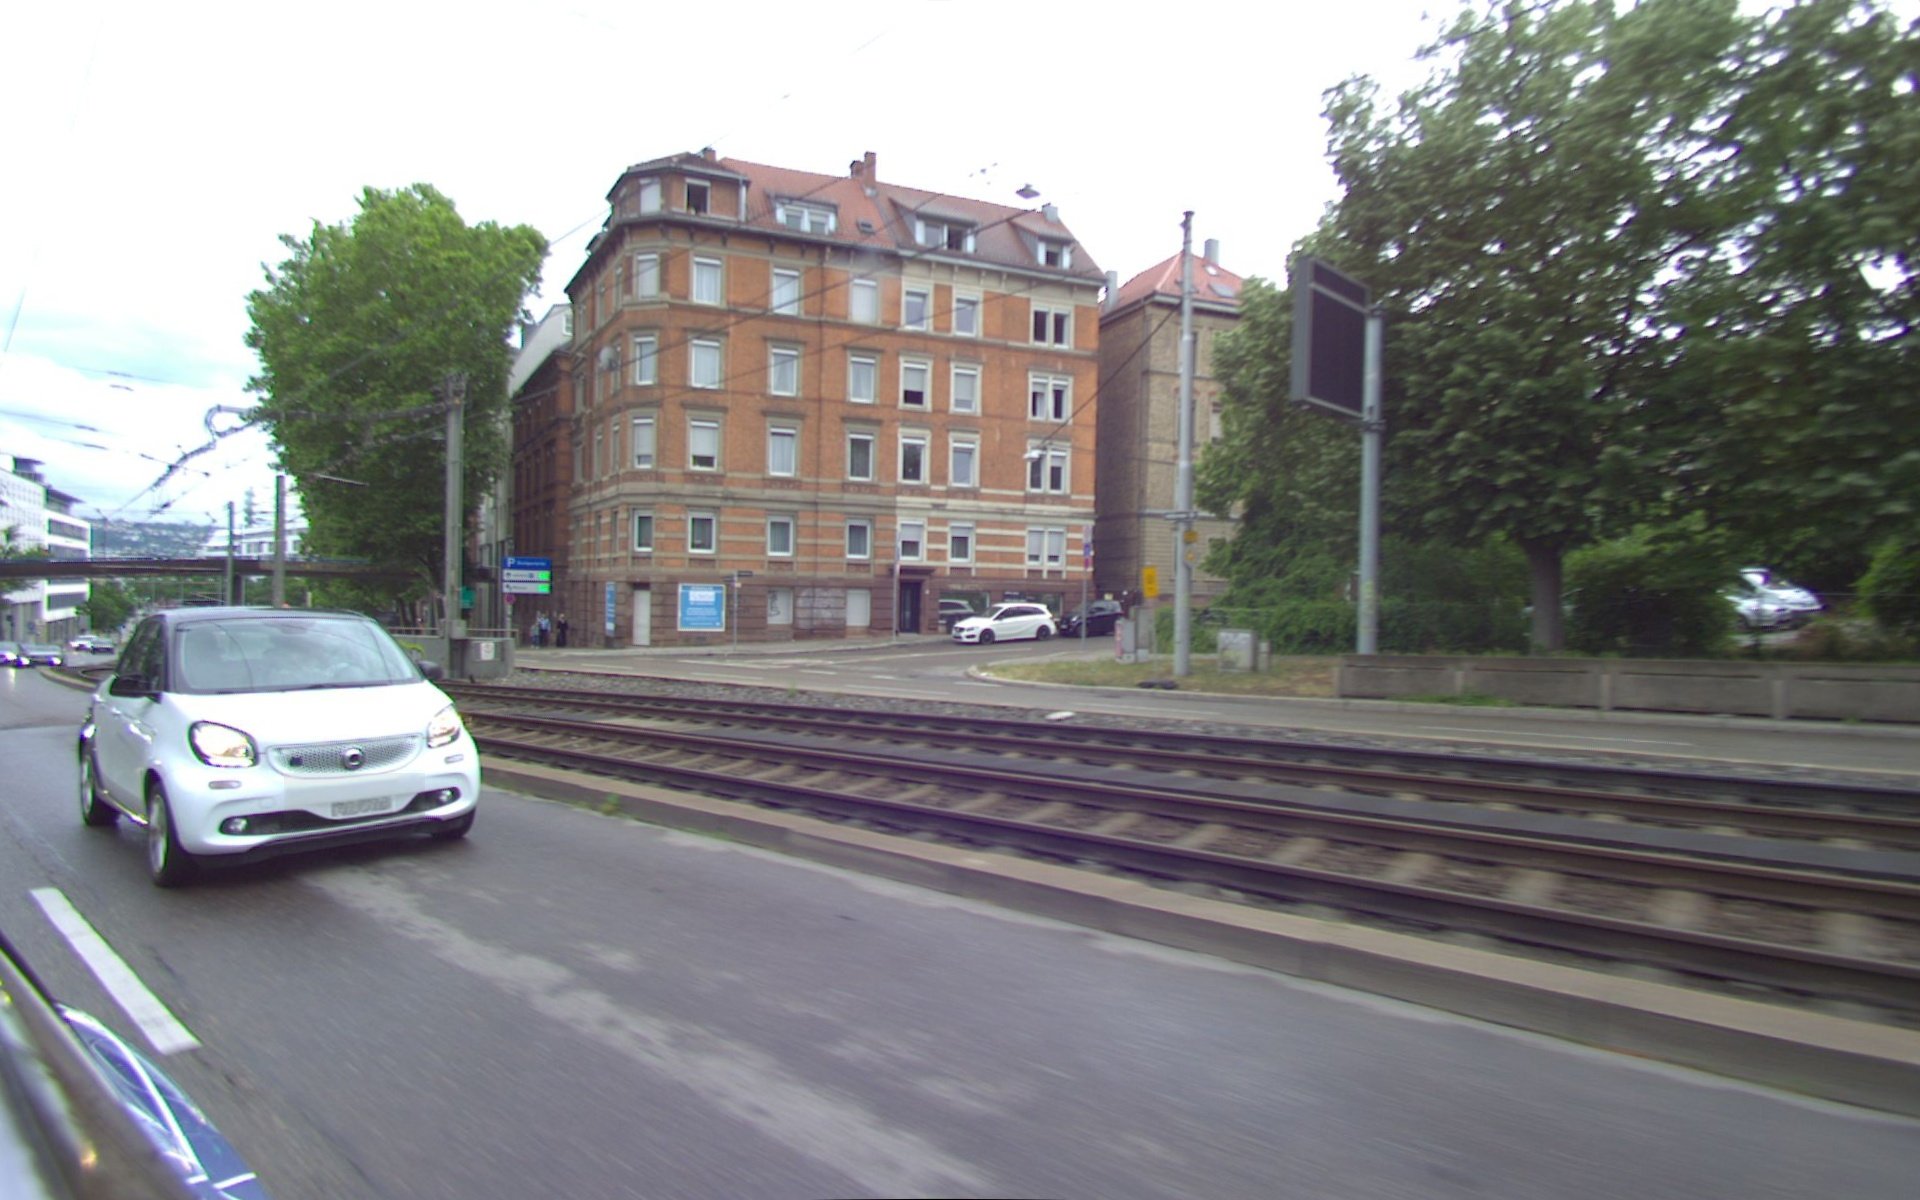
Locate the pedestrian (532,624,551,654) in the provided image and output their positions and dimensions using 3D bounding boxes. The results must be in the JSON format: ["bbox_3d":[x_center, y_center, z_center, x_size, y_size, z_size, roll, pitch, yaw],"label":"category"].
[{"bbox_3d":[-19.889,1.854,48.073,0.538,1.364,0.612,-1,0,41],"label":"pedestrian"}]

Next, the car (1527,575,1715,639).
[{"bbox_3d":[18.688,0.180,28.781,1.966,1.634,4.012,-2,1,-30],"label":"car"}]

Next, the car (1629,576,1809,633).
[{"bbox_3d":[23.510,0.135,31.499,1.966,1.634,4.012,-2,1,-30],"label":"car"}]

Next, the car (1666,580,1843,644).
[{"bbox_3d":[25.498,0.411,32.613,1.966,1.922,4.012,0,-1,-30],"label":"car"}]

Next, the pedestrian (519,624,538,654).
[{"bbox_3d":[-20.065,1.799,47.086,0.538,1.364,0.612,-1,0,41],"label":"pedestrian"}]

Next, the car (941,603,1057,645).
[{"bbox_3d":[1.587,0.947,41.167,4.361,1.610,1.847,-1,0,-27],"label":"car"}]

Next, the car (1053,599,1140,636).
[{"bbox_3d":[5.839,0.736,43.227,3.328,1.477,1.662,-1,0,-27],"label":"car"}]

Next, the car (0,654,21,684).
[{"bbox_3d":[-48.318,3.453,50.775,1.616,1.386,3.580,0,-1,-40],"label":"car"}]

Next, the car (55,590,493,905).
[{"bbox_3d":[-4.807,0.750,6.886,3.721,1.542,1.658,-1,0,43],"label":"car"}]

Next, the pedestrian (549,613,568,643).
[{"bbox_3d":[-19.052,1.330,48.030,0.538,1.364,0.611,-1,0,43],"label":"pedestrian"}]

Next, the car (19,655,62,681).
[{"bbox_3d":[-58.142,4.267,64.055,1.709,1.386,4.008,-2,1,-38],"label":"car"}]
